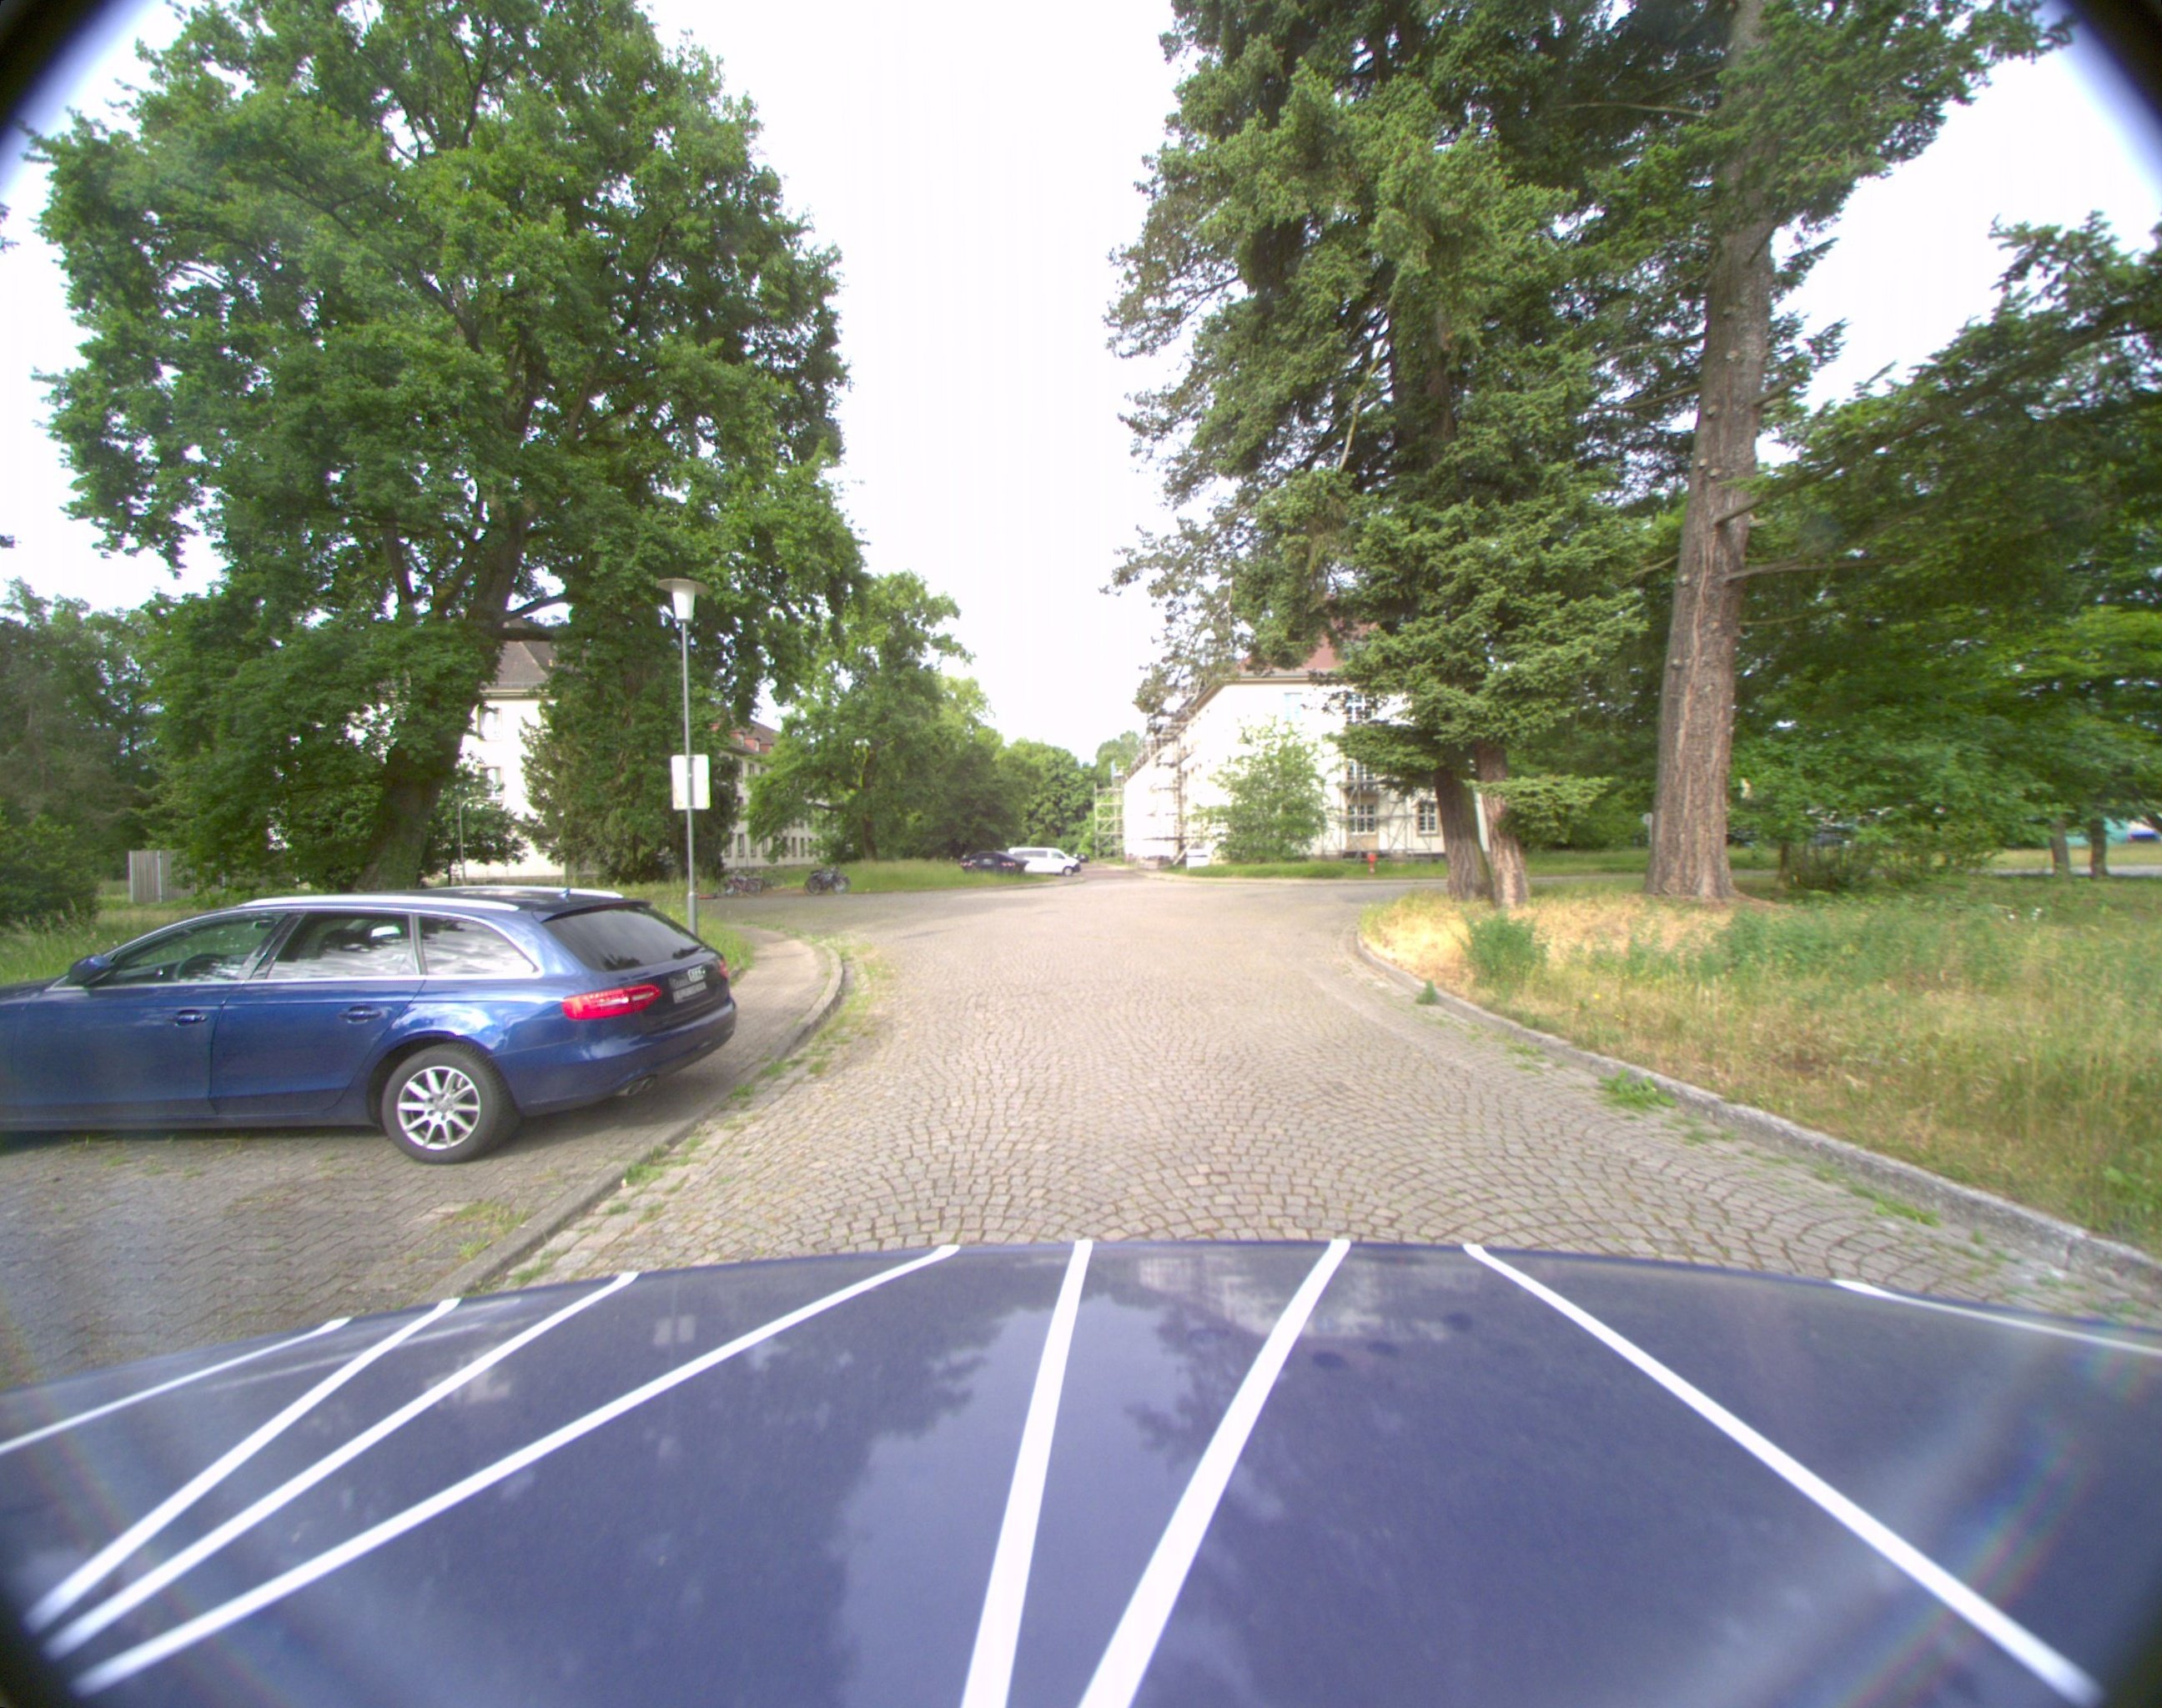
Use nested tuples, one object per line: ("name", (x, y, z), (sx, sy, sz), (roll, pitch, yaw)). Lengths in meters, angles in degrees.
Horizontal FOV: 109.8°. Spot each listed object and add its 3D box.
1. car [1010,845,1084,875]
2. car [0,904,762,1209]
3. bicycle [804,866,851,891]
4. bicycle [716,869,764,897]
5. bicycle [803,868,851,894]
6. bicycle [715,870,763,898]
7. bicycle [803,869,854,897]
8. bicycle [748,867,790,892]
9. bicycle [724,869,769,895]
("car", (-2.435, 0.415, 53.736), (5.102, 2.007, 2.054), (0, 1, -4))
("car", (-4.628, 1.100, 4.764), (4.481, 1.413, 1.784), (0, 1, 1))
("bicycle", (-12.236, 1.167, 36.704), (2.032, 1.070, 0.620), (-3, 1, -25))
("bicycle", (-15.130, 1.289, 33.729), (1.860, 1.116, 0.620), (-3, 1, -25))
("bicycle", (-11.570, 1.213, 34.627), (1.976, 1.070, 0.587), (-3, 1, -30))
("bicycle", (-14.904, 1.287, 33.128), (1.860, 1.116, 0.620), (-3, 1, -25))
("bicycle", (-10.987, 1.243, 33.071), (1.976, 1.070, 0.587), (-3, 1, -30))
("bicycle", (-15.448, 1.245, 37.597), (1.860, 1.116, 0.620), (-3, 1, -25))
("bicycle", (-15.559, 1.287, 35.371), (1.860, 1.116, 0.620), (-3, 1, -25))
